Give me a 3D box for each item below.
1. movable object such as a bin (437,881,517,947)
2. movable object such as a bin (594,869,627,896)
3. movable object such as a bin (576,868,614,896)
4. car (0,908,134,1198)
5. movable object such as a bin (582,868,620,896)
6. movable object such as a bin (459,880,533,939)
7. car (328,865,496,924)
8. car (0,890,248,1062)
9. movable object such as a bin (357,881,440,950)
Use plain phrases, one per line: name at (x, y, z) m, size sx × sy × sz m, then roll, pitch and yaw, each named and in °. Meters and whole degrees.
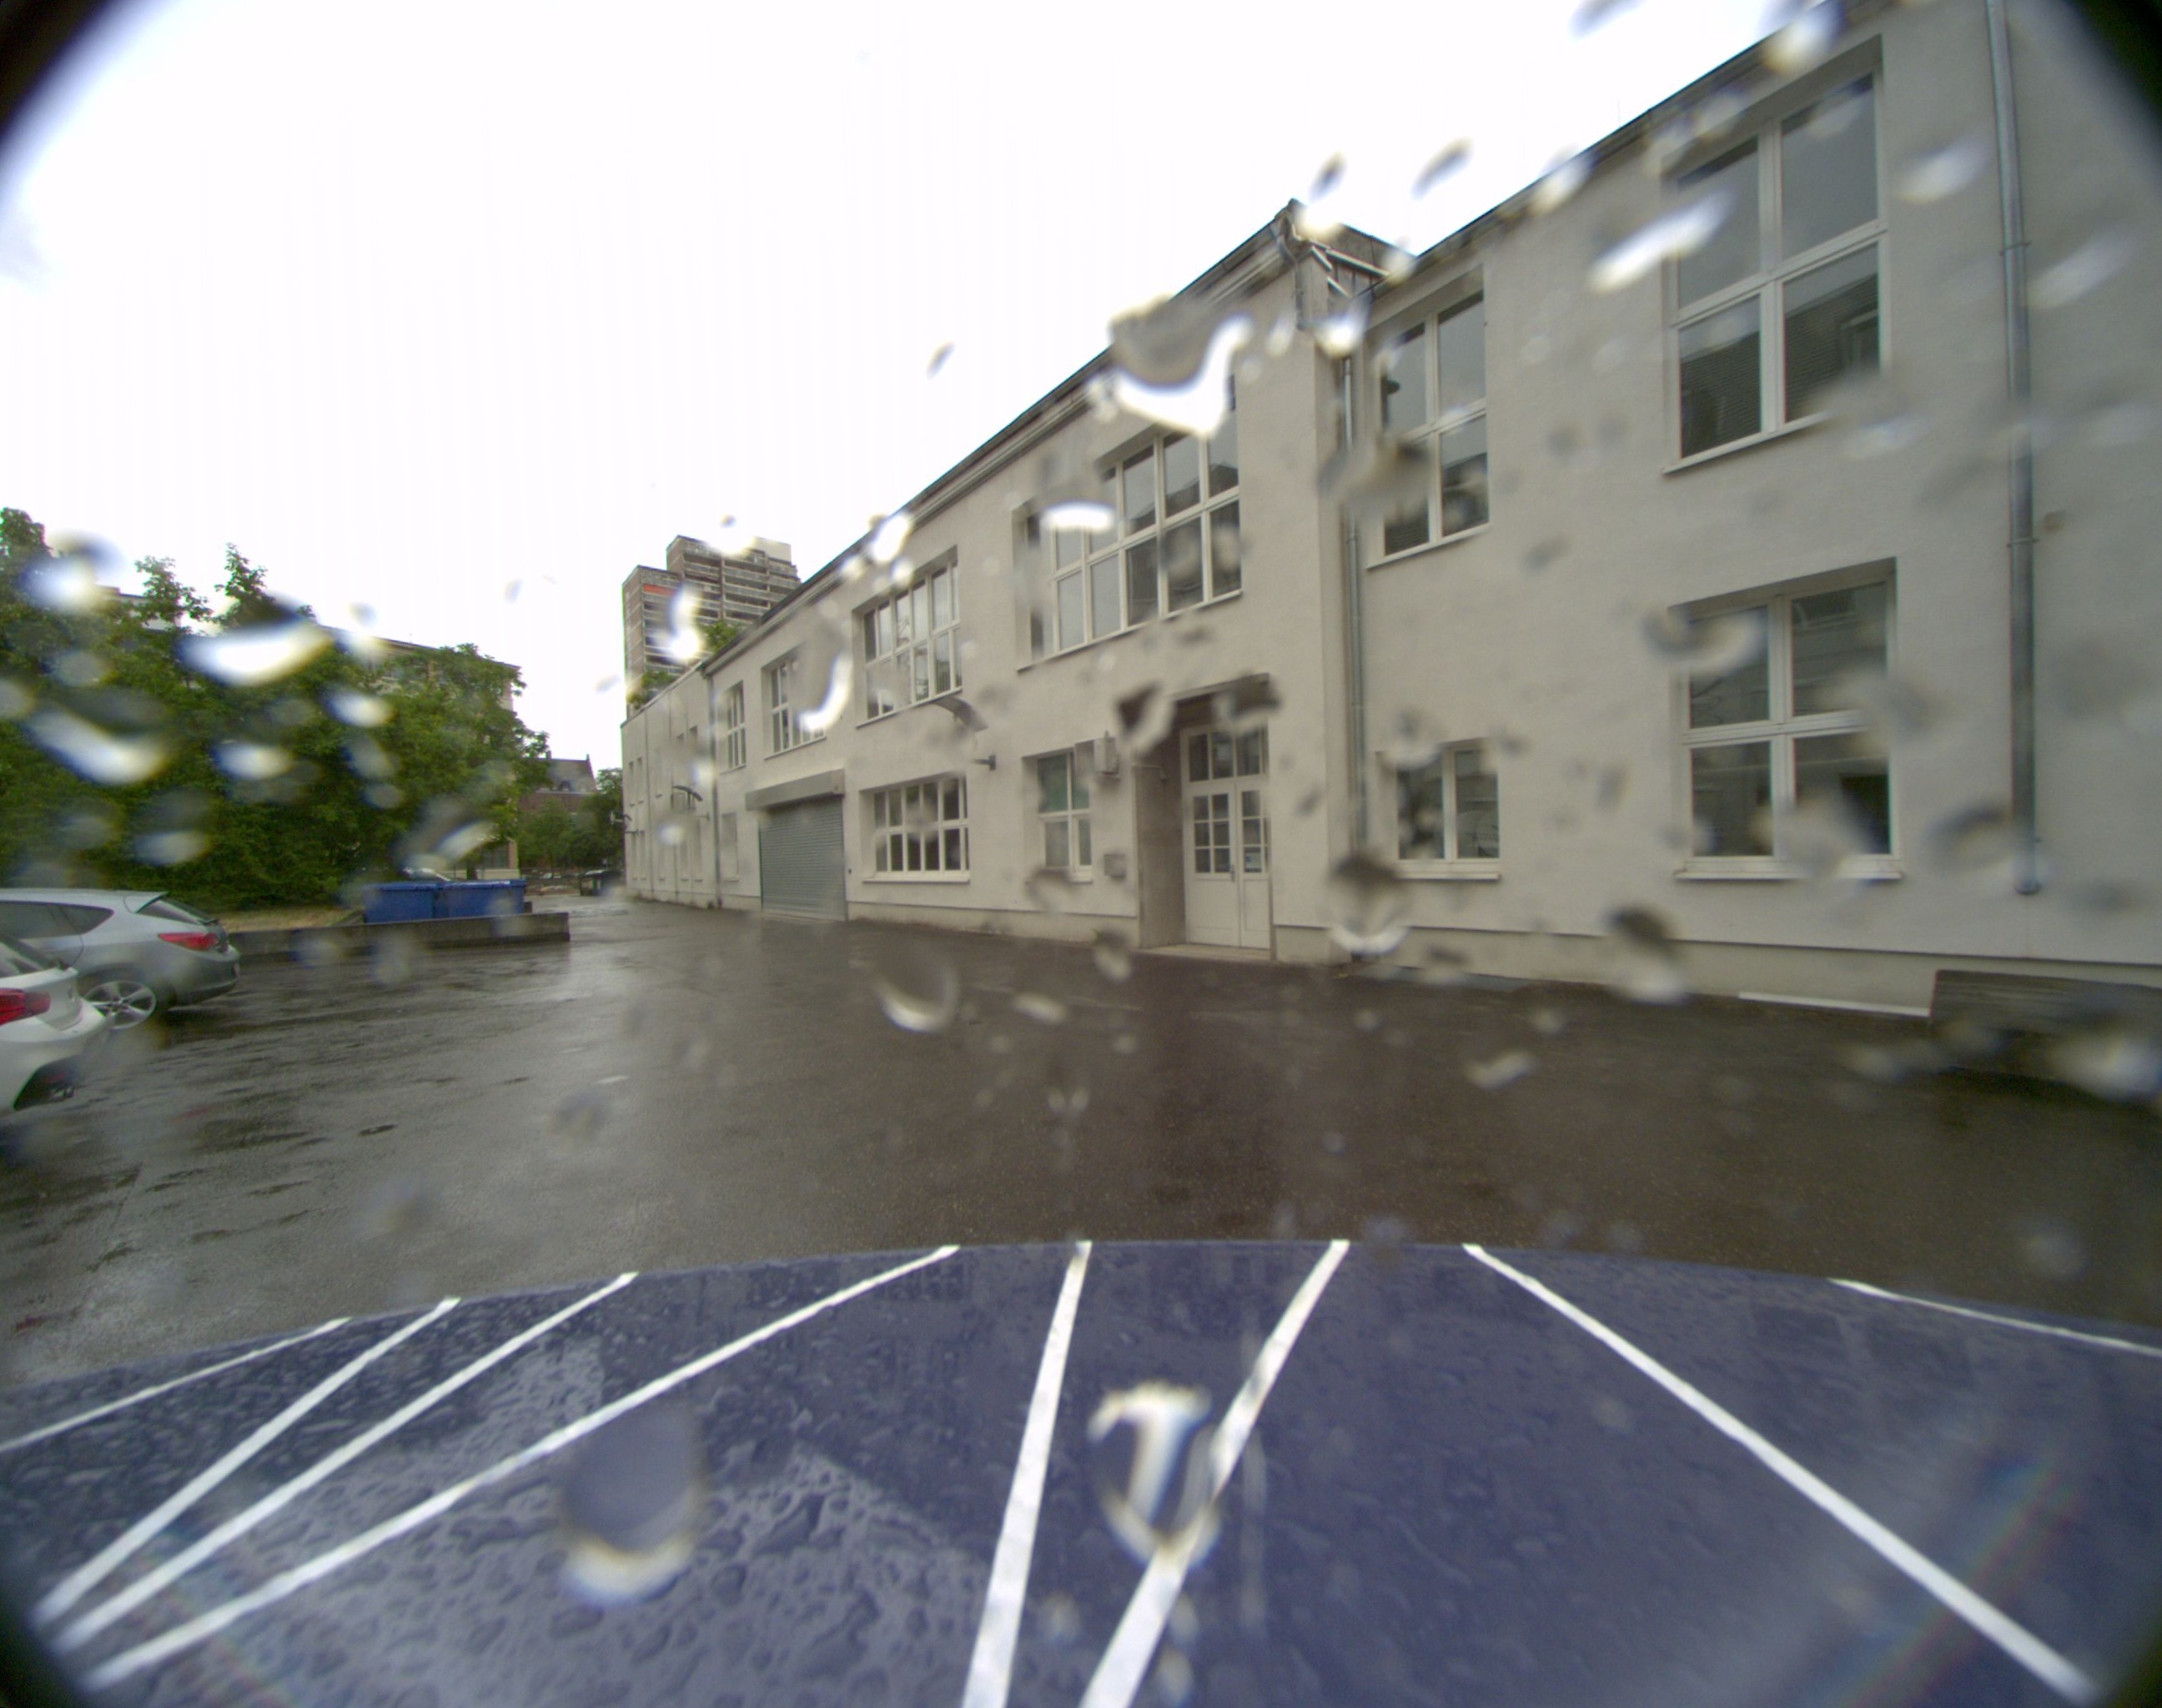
movable object such as a bin at (-14.203, 1.381, 17.849) m, size 1.316 × 1.350 × 1.900 m, roll -4°, pitch 0°, yaw -41°
movable object such as a bin at (-25.956, 1.556, 41.952) m, size 1.310 × 1.366 × 1.190 m, roll -4°, pitch 0°, yaw 44°
movable object such as a bin at (-28.099, 1.618, 43.943) m, size 1.310 × 1.440 × 1.495 m, roll -4°, pitch 0°, yaw 44°
car at (-7.787, 1.162, 3.374) m, size 4.229 × 1.481 × 1.995 m, roll -2°, pitch 0°, yaw -44°
movable object such as a bin at (-27.150, 1.576, 42.989) m, size 1.310 × 1.440 × 1.495 m, roll -4°, pitch 0°, yaw 44°
movable object such as a bin at (-15.103, 1.413, 19.596) m, size 1.316 × 1.350 × 1.900 m, roll -4°, pitch 0°, yaw -41°
car at (-26.058, 1.568, 29.849) m, size 4.706 × 1.870 × 2.118 m, roll -4°, pitch -1°, yaw -39°
car at (-11.135, 1.218, 7.191) m, size 4.229 × 1.481 × 1.995 m, roll -2°, pitch 0°, yaw -44°
movable object such as a bin at (-15.204, 1.355, 16.978) m, size 1.235 × 1.350 × 1.966 m, roll -4°, pitch 0°, yaw -41°
